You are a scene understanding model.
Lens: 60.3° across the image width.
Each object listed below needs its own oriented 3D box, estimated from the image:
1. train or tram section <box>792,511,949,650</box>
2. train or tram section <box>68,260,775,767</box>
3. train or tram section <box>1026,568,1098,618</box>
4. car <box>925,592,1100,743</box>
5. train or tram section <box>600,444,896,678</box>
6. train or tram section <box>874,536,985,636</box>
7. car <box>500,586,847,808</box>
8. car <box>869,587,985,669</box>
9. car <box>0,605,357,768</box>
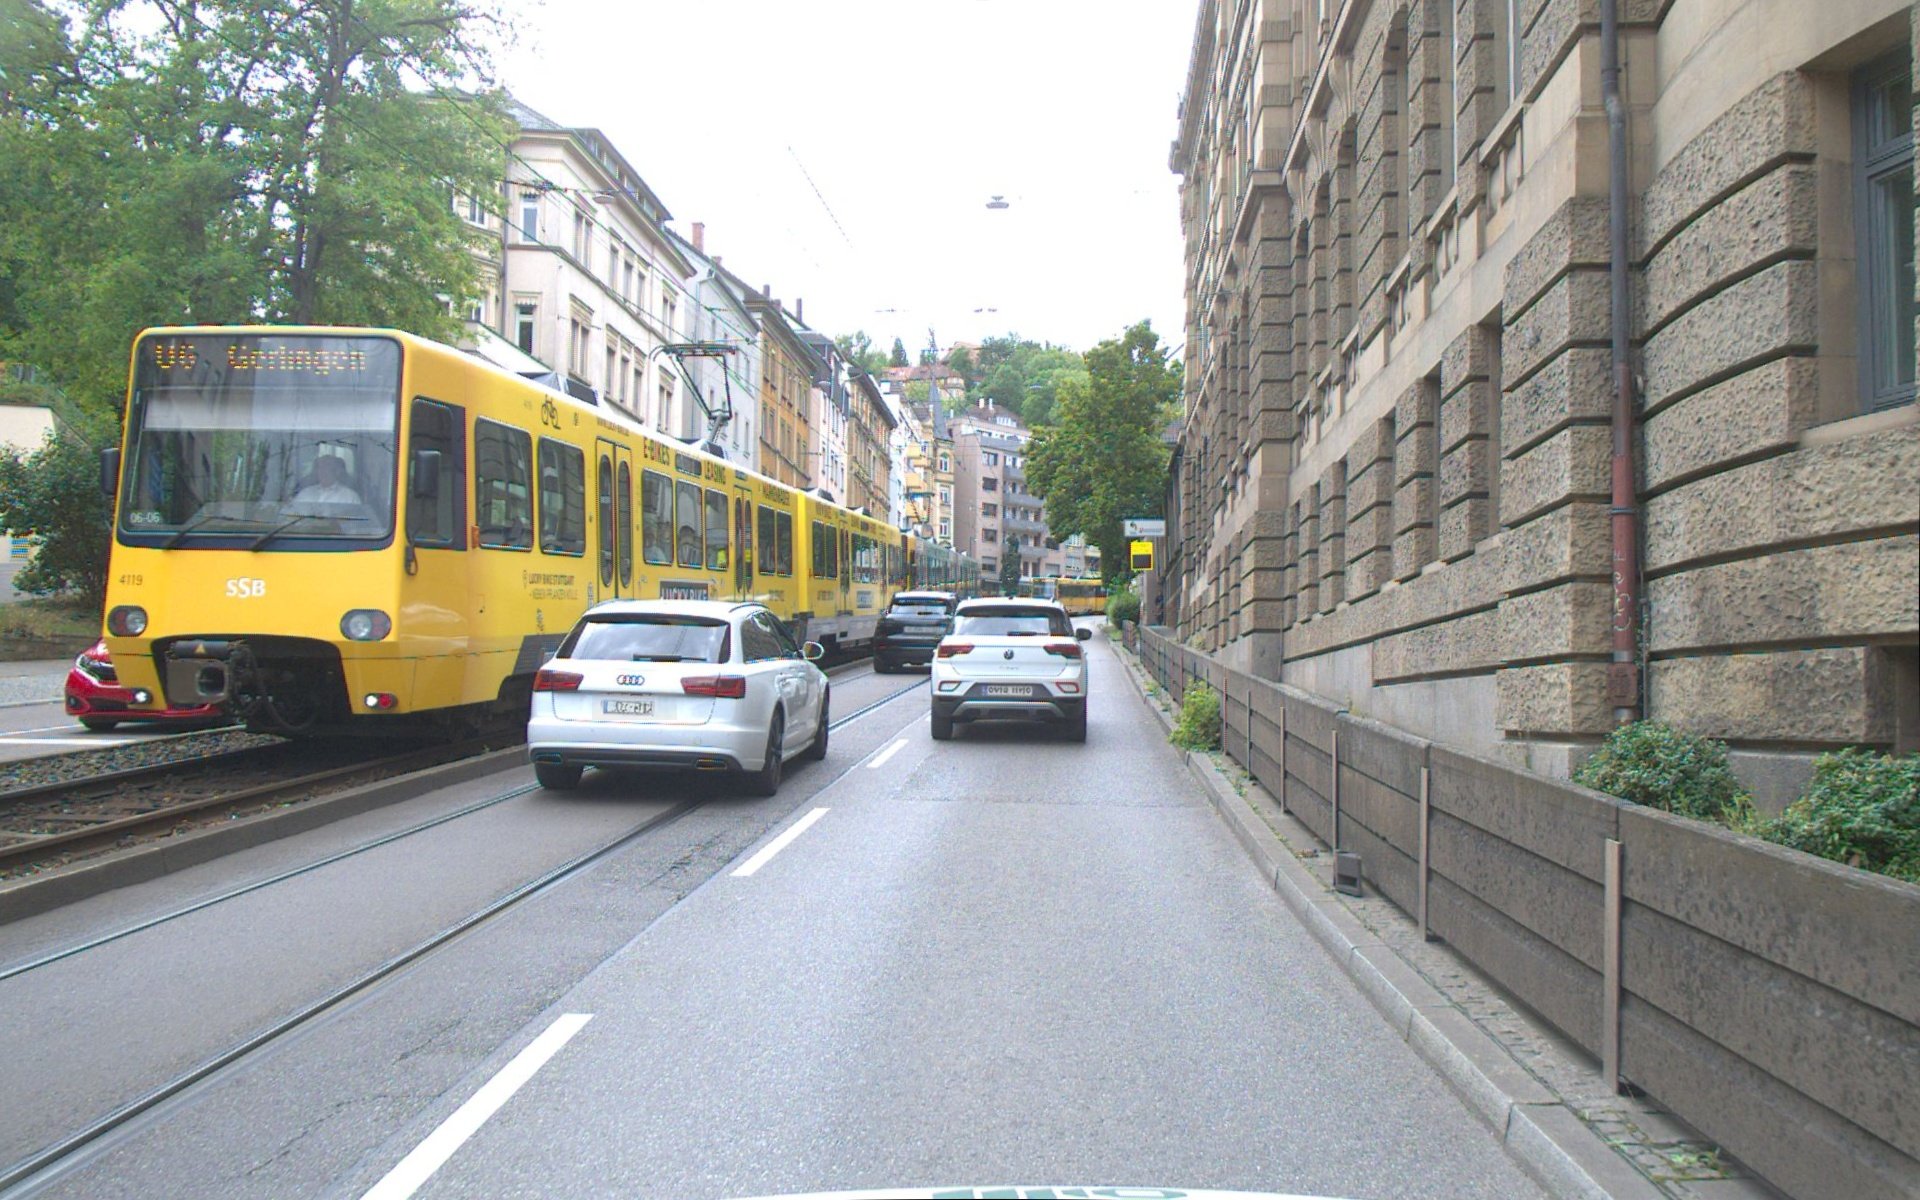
[{"bbox_3d":[-2.563,-0.544,55.609,2.816,3.791,18.766,2,0,4],"label":"train or tram section"},{"bbox_3d":[-4.985,-0.674,20.127,2.822,3.791,14.862,2,0,3],"label":"train or tram section"},{"bbox_3d":[9.711,-0.599,154.135,2.953,4.287,18.872,1,0,15],"label":"train or tram section"},{"bbox_3d":[0.663,0.710,19.570,1.839,1.582,4.001,1,0,3],"label":"car"},{"bbox_3d":[-3.900,-0.642,36.902,2.816,3.791,18.712,2,0,4],"label":"train or tram section"},{"bbox_3d":[-1.053,-0.533,74.303,2.815,3.791,18.768,2,0,5],"label":"train or tram section"},{"bbox_3d":[-2.169,0.669,13.895,1.840,1.480,4.619,2,0,3],"label":"car"},{"bbox_3d":[-0.631,0.559,35.268,1.995,1.599,4.361,1,0,5],"label":"car"},{"bbox_3d":[-8.387,0.838,17.958,1.951,1.530,4.002,1,0,4],"label":"car"}]
